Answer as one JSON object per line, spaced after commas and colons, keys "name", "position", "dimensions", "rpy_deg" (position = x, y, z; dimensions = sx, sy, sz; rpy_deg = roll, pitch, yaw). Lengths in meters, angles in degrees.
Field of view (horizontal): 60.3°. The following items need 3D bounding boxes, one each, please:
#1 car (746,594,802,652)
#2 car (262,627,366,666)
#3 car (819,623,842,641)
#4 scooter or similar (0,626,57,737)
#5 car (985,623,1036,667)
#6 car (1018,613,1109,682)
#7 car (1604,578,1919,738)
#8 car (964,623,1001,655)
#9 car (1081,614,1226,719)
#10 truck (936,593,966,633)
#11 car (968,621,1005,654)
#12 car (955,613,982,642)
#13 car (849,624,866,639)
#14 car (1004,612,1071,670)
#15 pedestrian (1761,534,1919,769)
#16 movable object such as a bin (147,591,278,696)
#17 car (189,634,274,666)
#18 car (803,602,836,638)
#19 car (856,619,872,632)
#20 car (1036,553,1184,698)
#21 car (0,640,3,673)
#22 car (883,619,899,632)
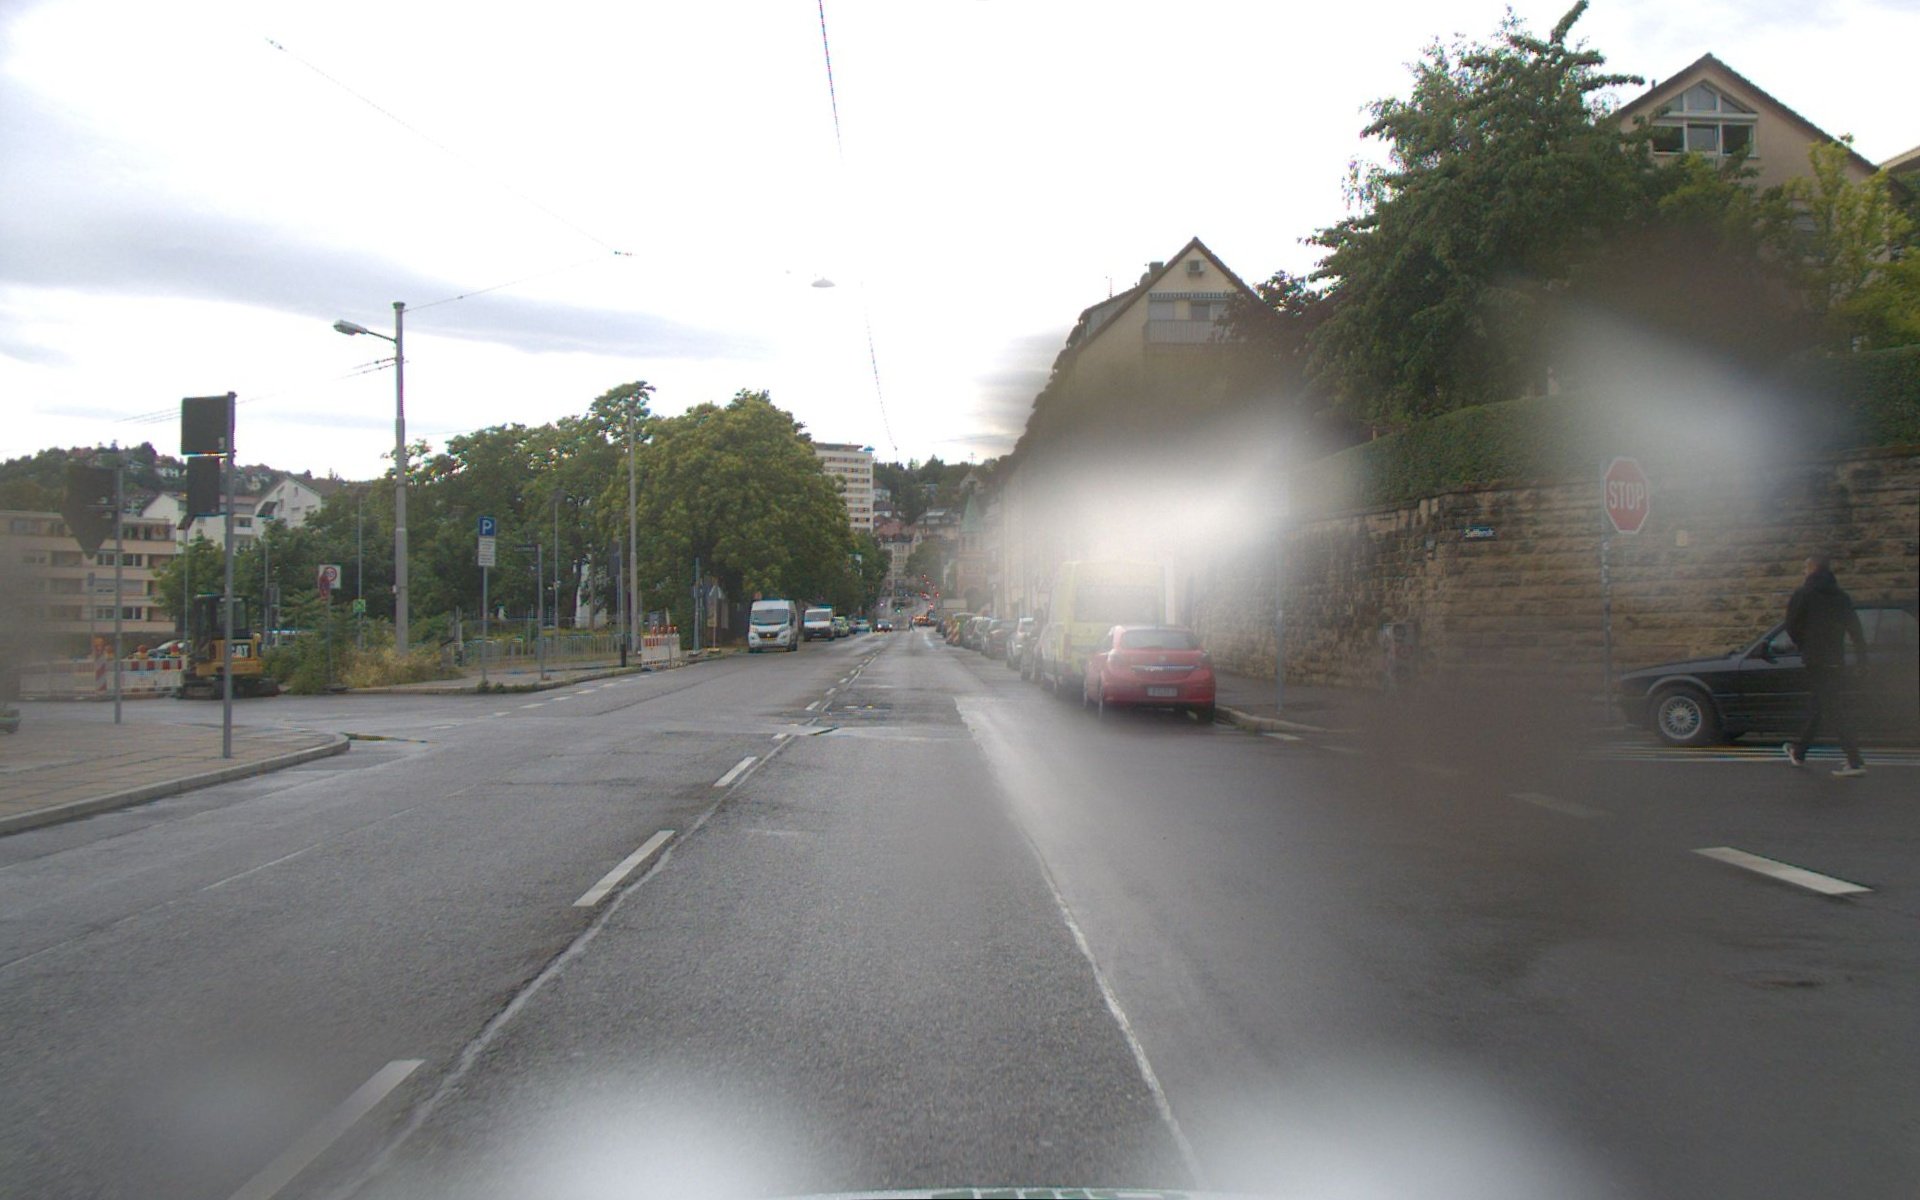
{"name": "car", "position": [-9.091, 1.102, 81.192], "dimensions": [2.185, 2.624, 6.534], "rpy_deg": [-2, 0, -2]}
{"name": "car", "position": [-33.518, 2.415, 85.950], "dimensions": [1.963, 1.866, 4.669], "rpy_deg": [-2, -1, 40]}
{"name": "car", "position": [-10.605, 2.621, 135.600], "dimensions": [1.649, 1.423, 3.908], "rpy_deg": [-2, -1, -3]}
{"name": "scooter or similar", "position": [-11.271, 0.950, 19.571], "dimensions": [0.486, 1.270, 1.231], "rpy_deg": [0, -2, -1]}
{"name": "car", "position": [1.818, 1.615, 60.430], "dimensions": [1.596, 1.479, 3.757], "rpy_deg": [1, 0, -2]}
{"name": "car", "position": [2.317, 1.049, 38.003], "dimensions": [1.654, 1.479, 4.233], "rpy_deg": [1, 0, -2]}
{"name": "car", "position": [8.653, 0.550, 15.933], "dimensions": [4.199, 1.417, 1.743], "rpy_deg": [-4, -3, 41]}
{"name": "car", "position": [1.145, 1.971, 84.932], "dimensions": [1.681, 1.551, 3.998], "rpy_deg": [1, 0, -2]}
{"name": "car", "position": [2.881, 0.958, 25.394], "dimensions": [1.686, 1.446, 4.202], "rpy_deg": [1, 0, -1]}
{"name": "truck", "position": [-0.764, 1.135, 140.536], "dimensions": [2.419, 3.228, 7.033], "rpy_deg": [-1, -1, -1]}
{"name": "car", "position": [1.254, 1.794, 79.350], "dimensions": [1.527, 1.479, 3.757], "rpy_deg": [1, 0, -2]}
{"name": "car", "position": [0.580, 1.897, 114.276], "dimensions": [1.781, 1.958, 4.237], "rpy_deg": [-1, -1, -1]}
{"name": "car", "position": [-10.935, 3.369, 175.762], "dimensions": [1.767, 1.476, 4.654], "rpy_deg": [-1, -1, -4]}
{"name": "car", "position": [2.286, 1.261, 49.645], "dimensions": [1.654, 1.480, 4.232], "rpy_deg": [1, -4, -2]}
{"name": "pedestrian", "position": [6.882, 0.390, 12.958], "dimensions": [0.709, 1.745, 0.905], "rpy_deg": [-2, 0, -1]}
{"name": "movable object such as a bin", "position": [-19.010, 1.081, 41.946], "dimensions": [1.656, 2.502, 5.210], "rpy_deg": [0, -1, -41]}
{"name": "car", "position": [-40.808, 2.785, 92.674], "dimensions": [1.766, 1.654, 3.979], "rpy_deg": [-2, -1, 40]}
{"name": "car", "position": [-10.171, 1.451, 120.078], "dimensions": [1.971, 2.531, 5.981], "rpy_deg": [-2, 0, -1]}
{"name": "car", "position": [-11.098, 2.952, 191.476], "dimensions": [1.675, 1.476, 4.291], "rpy_deg": [-1, -1, -3]}
{"name": "car", "position": [2.760, 0.465, 31.976], "dimensions": [2.161, 2.506, 6.078], "rpy_deg": [1, 0, -1]}
{"name": "car", "position": [-51.554, 2.994, 83.805], "dimensions": [2.088, 1.654, 4.875], "rpy_deg": [-5, -3, 42]}
{"name": "car", "position": [-8.157, 2.996, 195.436], "dimensions": [1.769, 1.440, 4.380], "rpy_deg": [-1, -1, -4]}
